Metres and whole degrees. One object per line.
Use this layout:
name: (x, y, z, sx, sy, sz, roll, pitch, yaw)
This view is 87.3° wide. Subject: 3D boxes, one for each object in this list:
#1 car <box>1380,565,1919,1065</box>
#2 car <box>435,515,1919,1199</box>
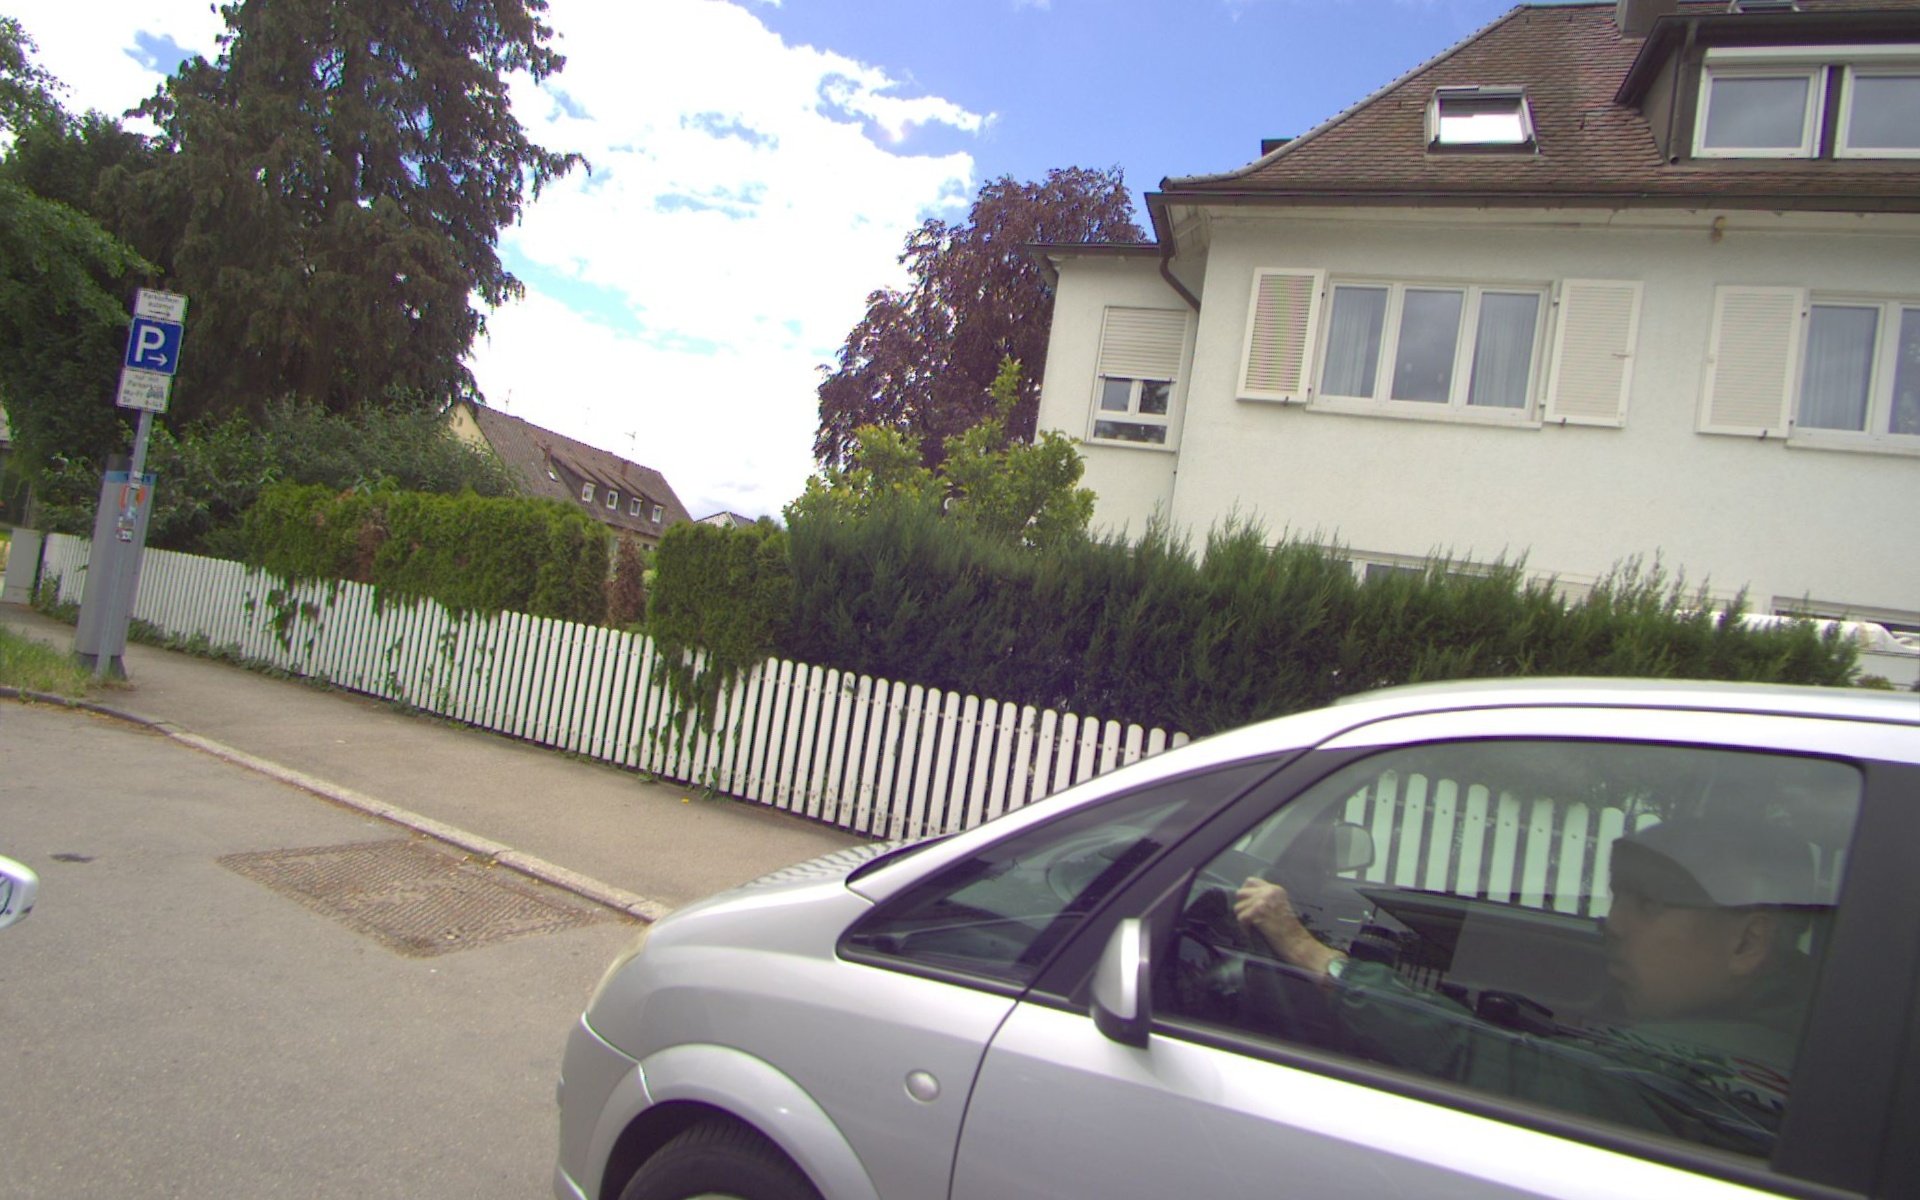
car: (6.053, 1.576, 7.387, 5.091, 2.708, 2.511, 8, -4, 21)
car: (1.173, 0.914, 1.749, 3.950, 1.600, 1.763, 7, -2, 30)
